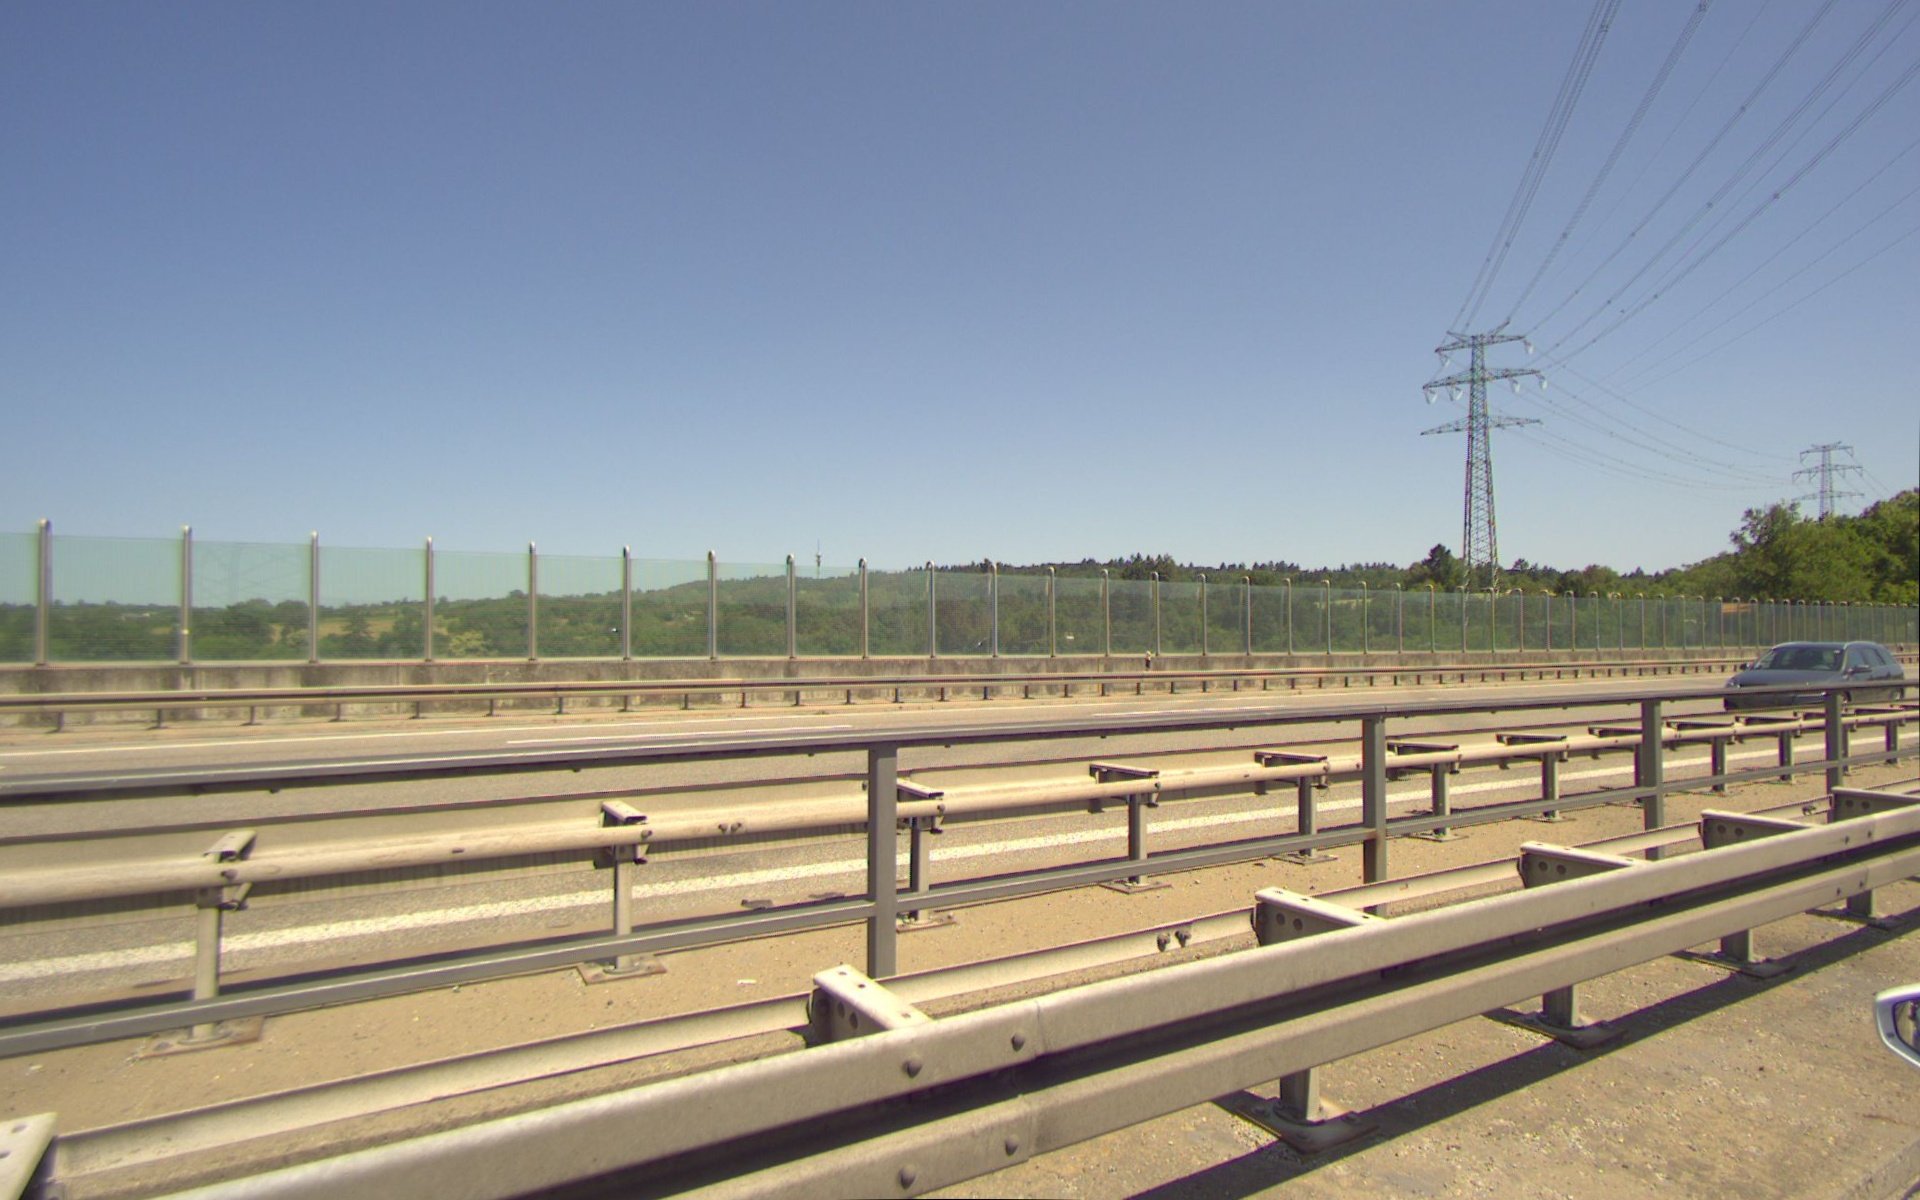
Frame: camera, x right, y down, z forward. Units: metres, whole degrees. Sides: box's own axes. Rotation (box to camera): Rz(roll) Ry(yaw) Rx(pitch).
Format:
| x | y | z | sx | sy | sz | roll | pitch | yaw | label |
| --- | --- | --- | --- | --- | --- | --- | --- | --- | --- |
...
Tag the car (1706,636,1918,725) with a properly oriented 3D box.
| x | y | z | sx | sy | sz | roll | pitch | yaw | label |
| --- | --- | --- | --- | --- | --- | --- | --- | --- | --- |
| 16.147 | 1.440 | 19.008 | 4.173 | 1.528 | 1.754 | 1 | -2 | -30 | car |
